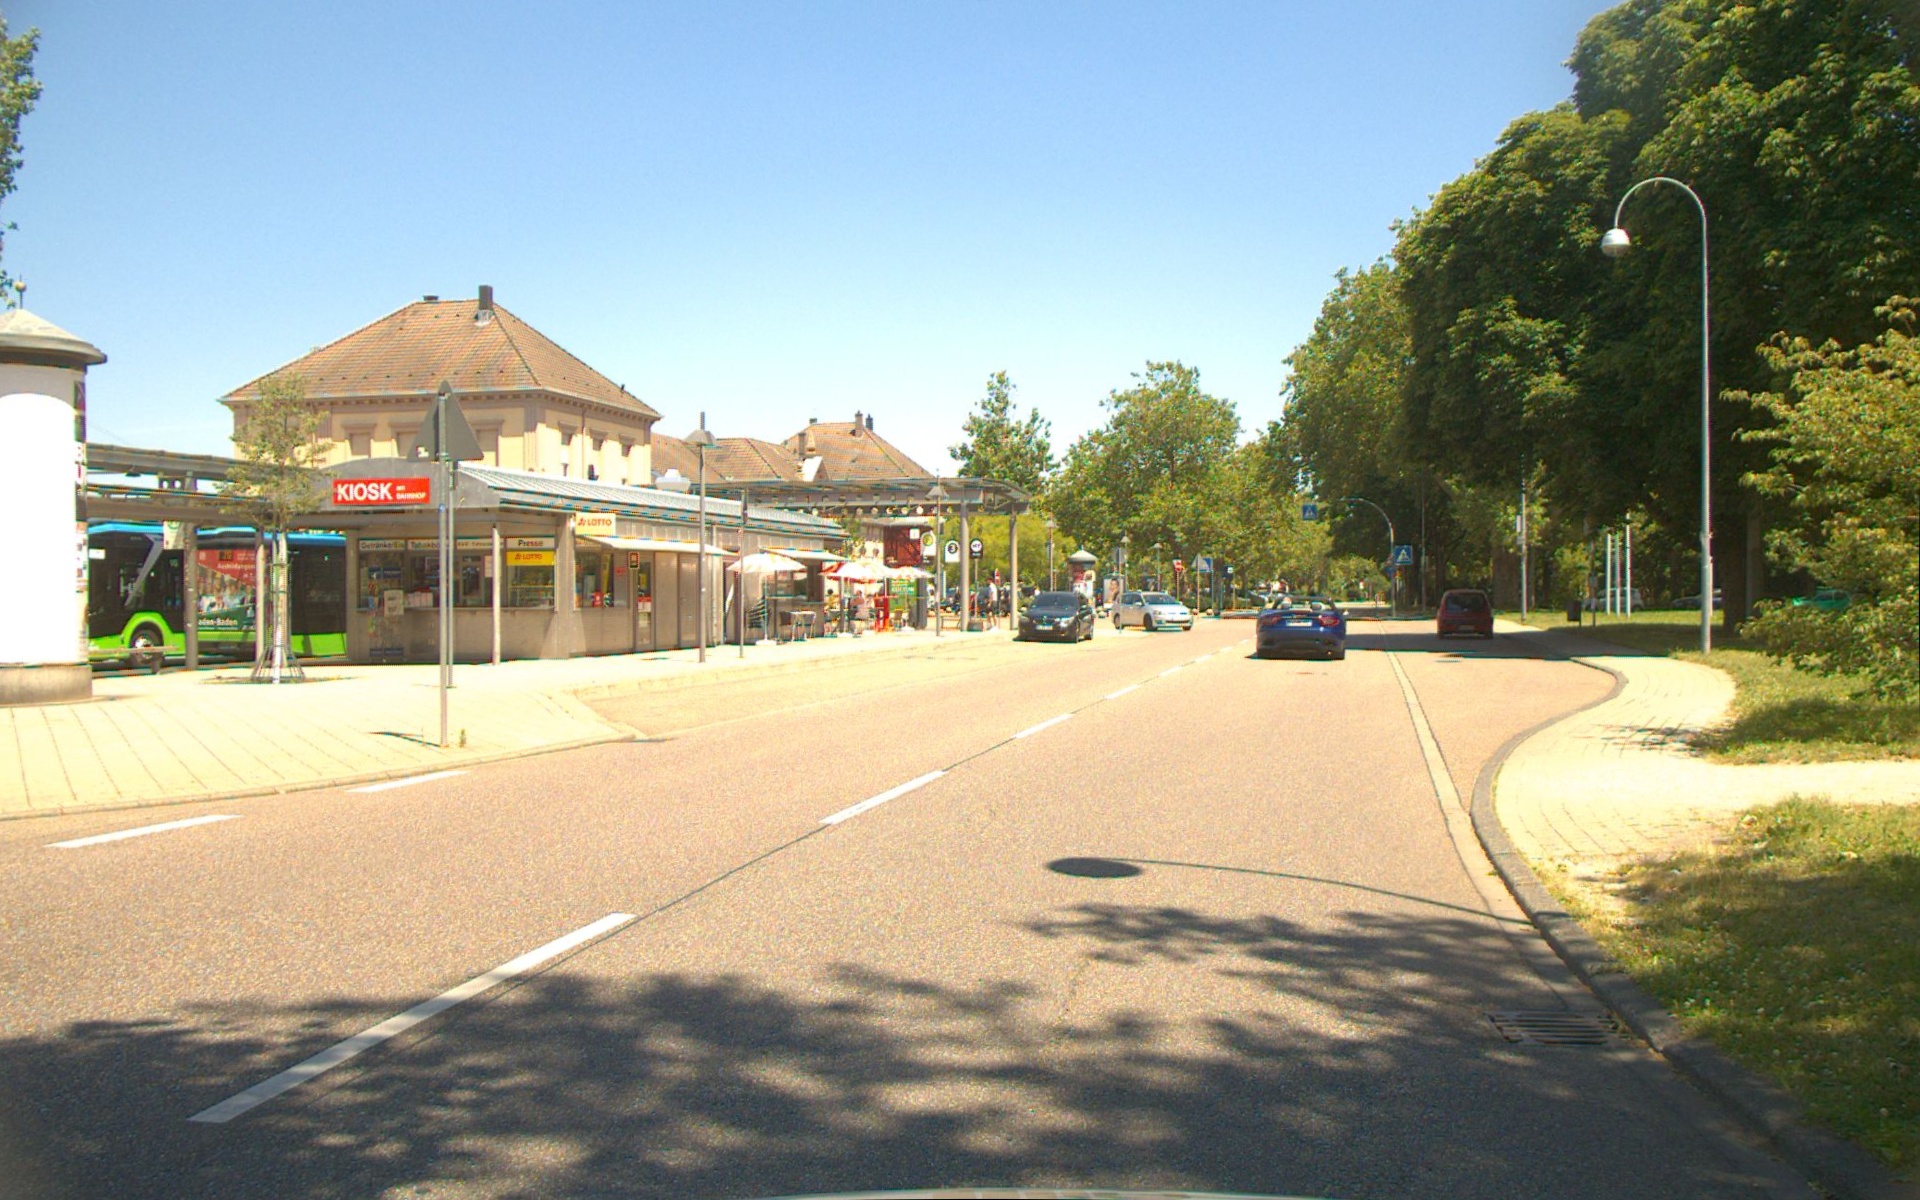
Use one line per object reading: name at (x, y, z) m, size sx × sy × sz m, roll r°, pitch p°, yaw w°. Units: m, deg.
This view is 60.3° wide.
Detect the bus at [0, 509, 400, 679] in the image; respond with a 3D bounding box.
bus at (-18.428, -0.181, 41.165) m, size 2.116 × 3.588 × 12.232 m, roll 0°, pitch 0°, yaw 15°

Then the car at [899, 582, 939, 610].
car at (-2.983, -0.294, 121.357) m, size 1.714 × 1.950 × 4.780 m, roll -1°, pitch 1°, yaw 13°

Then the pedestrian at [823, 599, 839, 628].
pedestrian at (-4.360, 0.452, 55.839) m, size 0.416 × 0.989 × 0.371 m, roll -1°, pitch -2°, yaw 27°

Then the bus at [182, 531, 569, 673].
bus at (-14.427, 0.044, 43.009) m, size 2.617 × 3.094 × 13.904 m, roll -1°, pitch 0°, yaw 12°

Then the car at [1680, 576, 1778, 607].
car at (43.010, -0.479, 92.584) m, size 4.722 × 1.635 × 2.001 m, roll -1°, pitch 0°, yaw 18°

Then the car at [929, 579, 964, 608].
car at (-1.022, -0.526, 128.210) m, size 1.951 × 2.048 × 4.004 m, roll -1°, pitch 2°, yaw 11°

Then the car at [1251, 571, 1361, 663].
car at (7.629, 0.338, 36.226) m, size 2.080 × 1.881 × 4.051 m, roll 0°, pitch 0°, yaw 16°

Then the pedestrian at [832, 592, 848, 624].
pedestrian at (-6.539, 0.434, 90.246) m, size 0.648 × 1.702 × 0.624 m, roll 1°, pitch -2°, yaw -32°

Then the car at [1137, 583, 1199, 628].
car at (7.862, 0.192, 62.255) m, size 1.776 × 1.469 × 4.162 m, roll -4°, pitch 0°, yaw 14°

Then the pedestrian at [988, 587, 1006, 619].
pedestrian at (2.052, 0.169, 91.087) m, size 0.746 × 1.688 × 0.719 m, roll -1°, pitch -2°, yaw 31°

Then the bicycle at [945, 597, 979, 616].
bicycle at (0.129, 0.342, 88.486) m, size 1.760 × 1.048 × 0.487 m, roll 0°, pitch 0°, yaw -10°

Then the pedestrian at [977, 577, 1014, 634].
pedestrian at (1.181, 0.204, 54.664) m, size 0.785 × 1.860 × 1.140 m, roll -1°, pitch -2°, yaw 30°

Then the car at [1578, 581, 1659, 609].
car at (37.550, -0.287, 94.442) m, size 4.017 × 1.492 × 2.002 m, roll -1°, pitch 0°, yaw 13°

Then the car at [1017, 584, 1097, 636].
car at (3.014, 0.291, 50.595) m, size 1.682 × 1.504 × 4.790 m, roll -1°, pitch 0°, yaw 12°

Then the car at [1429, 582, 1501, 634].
car at (15.294, 0.235, 50.241) m, size 1.682 × 1.504 × 3.709 m, roll -1°, pitch 0°, yaw 11°
